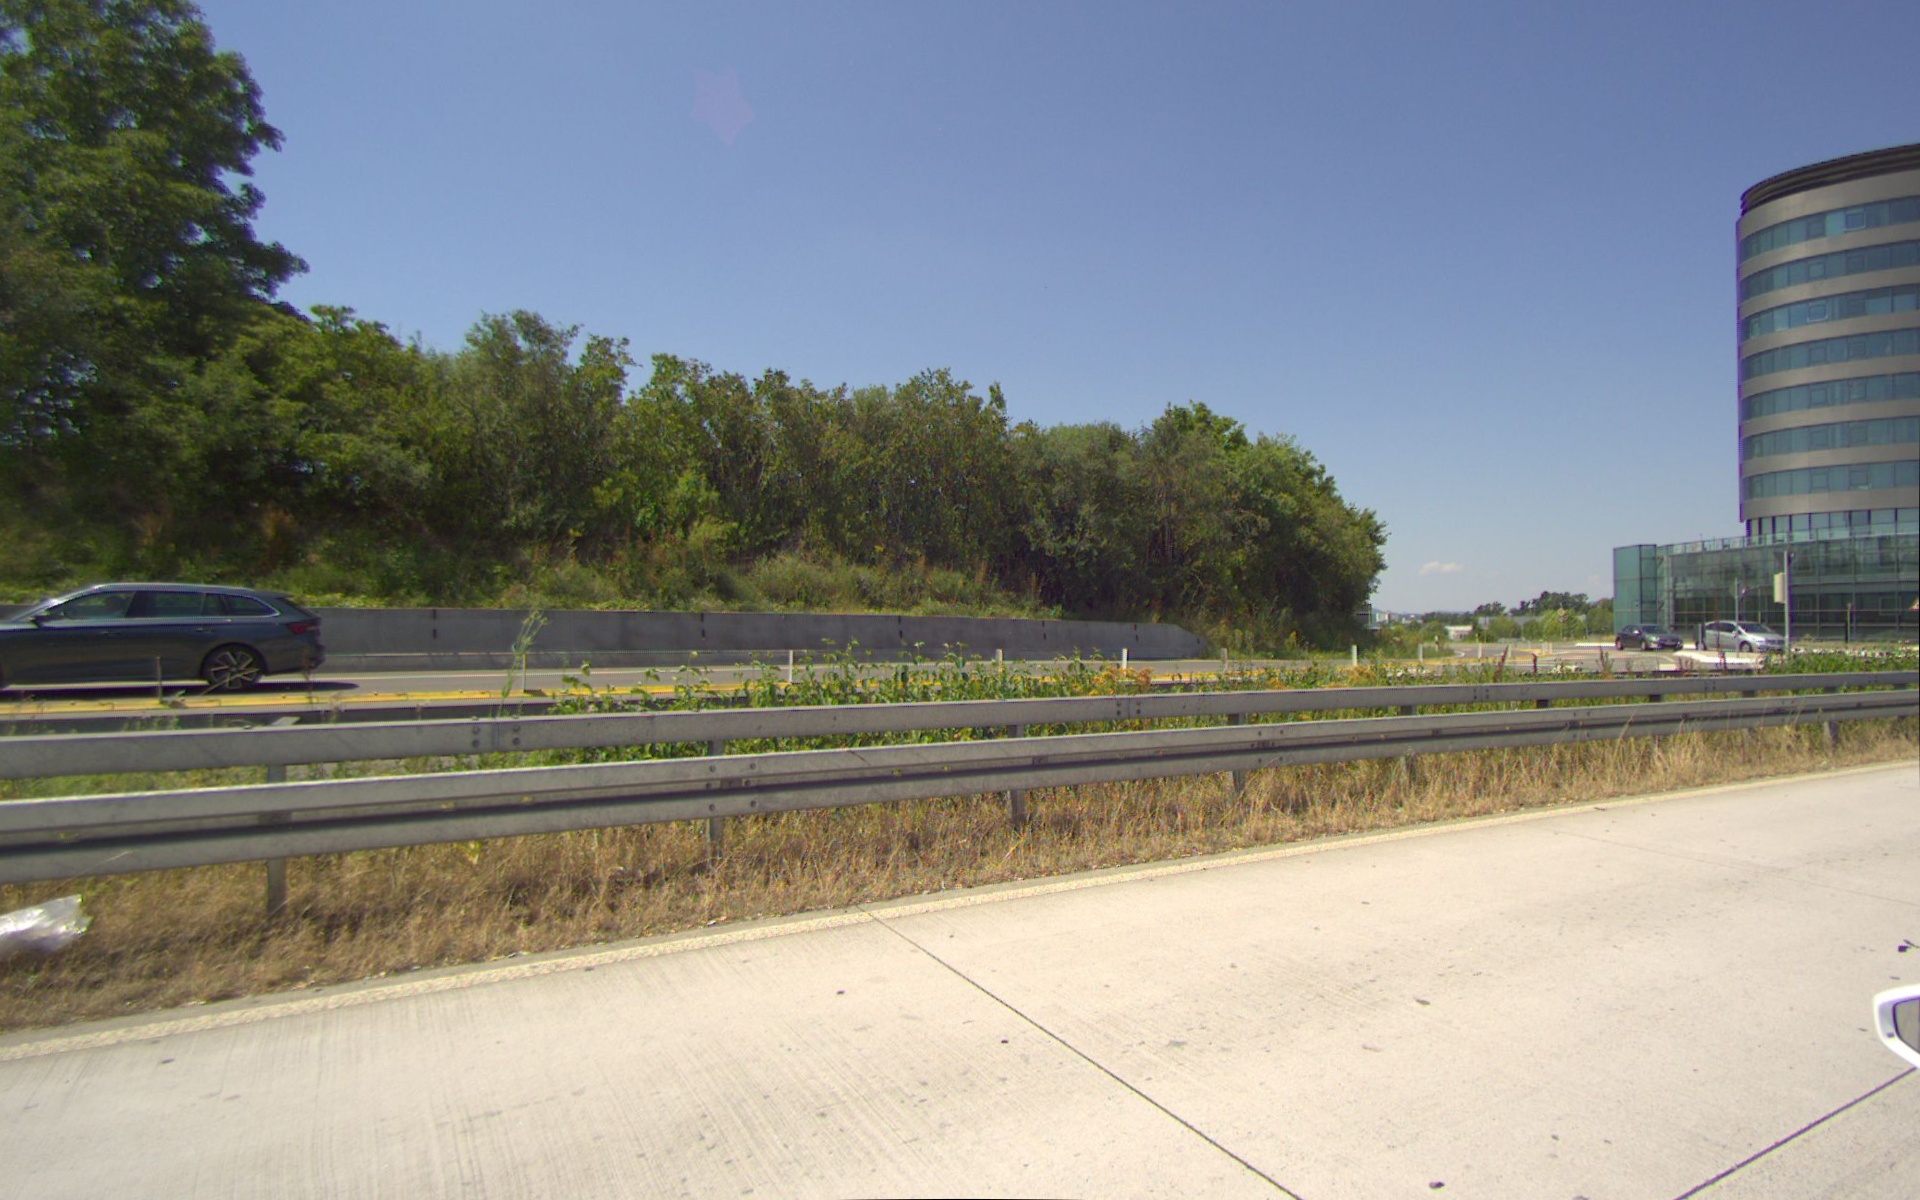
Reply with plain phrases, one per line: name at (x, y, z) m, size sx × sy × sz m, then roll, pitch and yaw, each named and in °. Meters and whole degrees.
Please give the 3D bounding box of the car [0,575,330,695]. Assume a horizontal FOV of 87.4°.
car at (-11.311, 0.445, 13.624) m, size 4.560 × 1.466 × 1.859 m, roll 2°, pitch 0°, yaw -37°

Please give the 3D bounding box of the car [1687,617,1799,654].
car at (36.495, 1.667, 46.959) m, size 1.742 × 1.616 × 4.329 m, roll 2°, pitch -2°, yaw -2°

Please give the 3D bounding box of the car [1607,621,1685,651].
car at (37.214, 1.971, 54.597) m, size 1.663 × 1.475 × 4.333 m, roll 2°, pitch -2°, yaw 6°
